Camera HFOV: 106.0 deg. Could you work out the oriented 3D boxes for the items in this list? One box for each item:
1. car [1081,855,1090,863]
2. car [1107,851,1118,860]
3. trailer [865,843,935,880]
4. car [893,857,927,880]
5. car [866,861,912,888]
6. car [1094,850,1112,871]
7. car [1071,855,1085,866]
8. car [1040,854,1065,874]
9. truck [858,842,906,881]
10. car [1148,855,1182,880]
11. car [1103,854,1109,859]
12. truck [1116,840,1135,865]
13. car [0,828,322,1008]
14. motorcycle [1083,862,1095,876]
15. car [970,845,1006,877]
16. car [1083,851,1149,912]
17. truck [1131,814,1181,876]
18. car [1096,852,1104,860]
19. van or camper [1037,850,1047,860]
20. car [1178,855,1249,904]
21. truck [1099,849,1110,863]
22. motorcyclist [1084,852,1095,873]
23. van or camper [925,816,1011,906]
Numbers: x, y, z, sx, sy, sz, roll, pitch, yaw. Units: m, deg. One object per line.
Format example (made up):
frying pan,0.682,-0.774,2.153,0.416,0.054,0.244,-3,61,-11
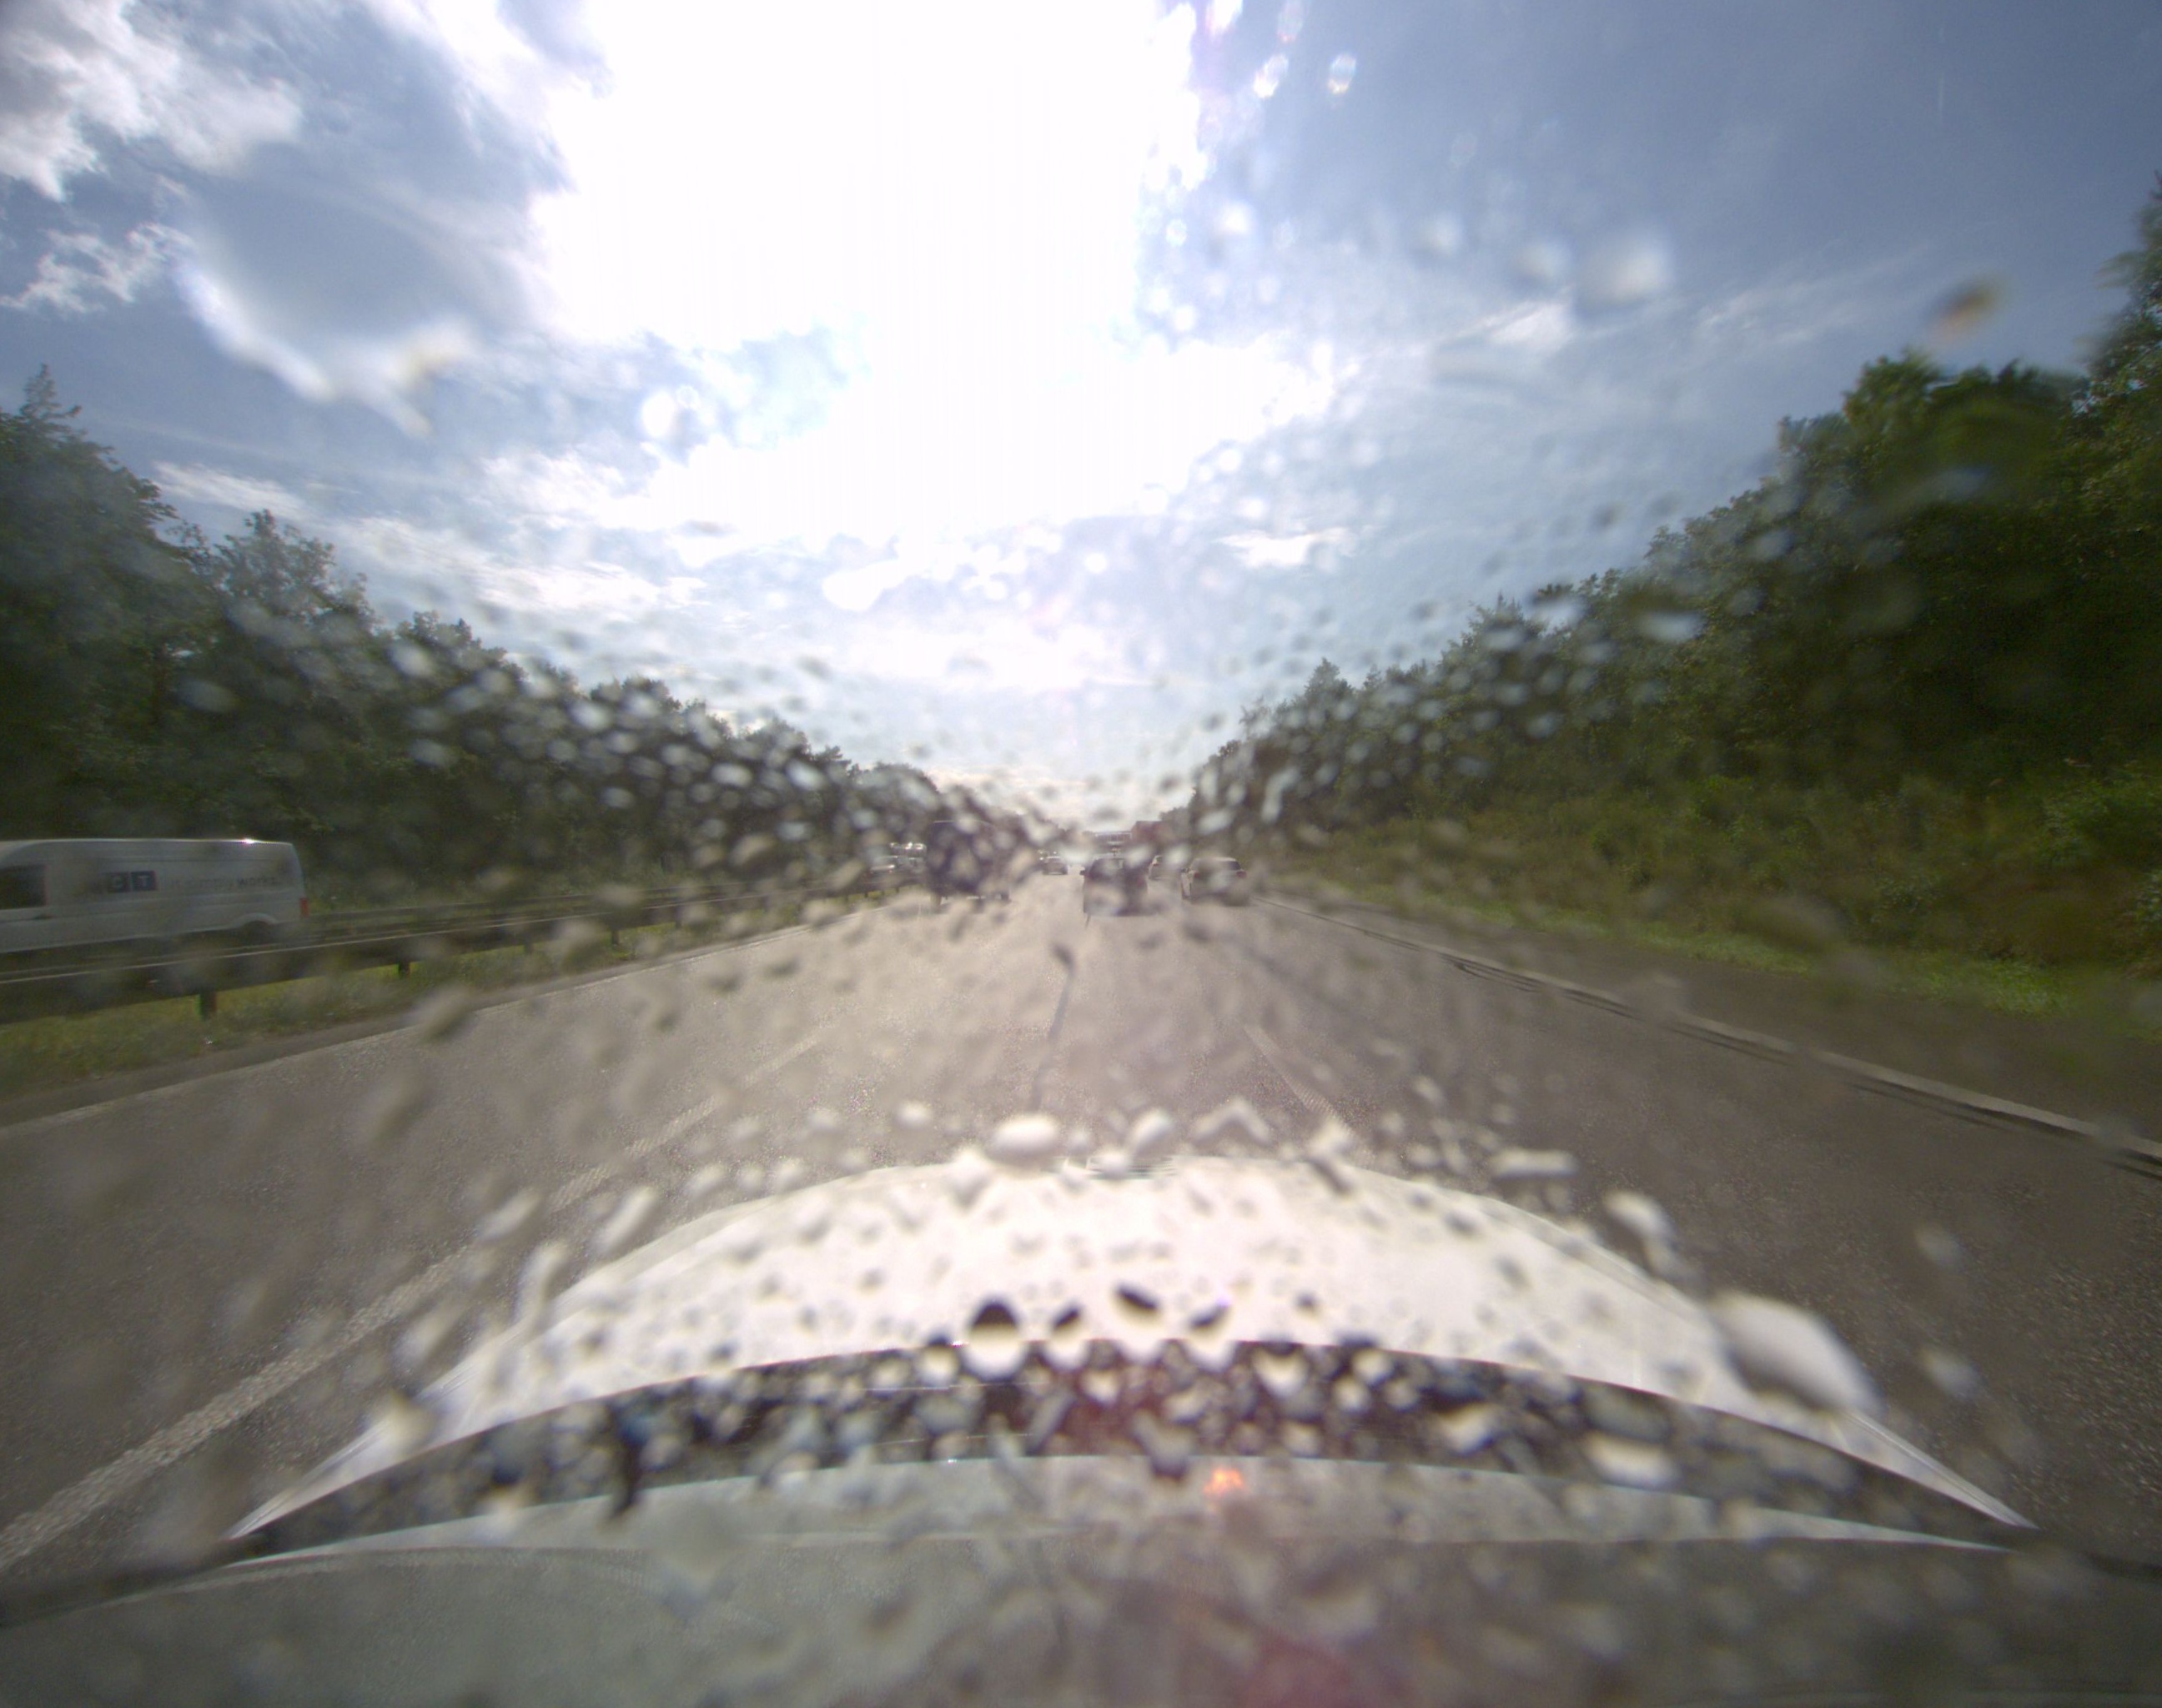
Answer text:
car,0.770,0.901,139.831,1.455,1.393,3.312,-1,0,1
car,4.643,0.215,119.567,1.547,1.383,3.210,-1,0,1
trailer,-20.144,0.828,92.405,2.978,3.831,17.965,0,0,3
car,-15.258,1.262,72.850,1.862,1.946,5.042,-1,0,1
car,-12.487,1.317,53.336,1.839,1.663,4.663,-1,0,1
car,1.939,0.579,72.778,1.526,1.746,3.485,-1,0,1
car,-0.419,0.914,111.492,1.745,1.457,3.390,-1,0,1
car,-2.321,0.826,66.924,1.848,1.551,3.485,-1,0,1
truck,-20.531,0.792,84.338,2.978,3.831,6.869,0,0,3
car,5.018,0.766,49.128,1.674,1.442,3.905,-1,0,1
car,7.833,0.795,254.326,1.986,1.728,4.002,-1,0,2
truck,8.139,-0.270,149.725,3.243,4.479,12.429,-1,0,3
car,-18.324,1.042,14.904,2.255,2.870,6.932,-1,0,1
motorcycle,0.645,1.167,63.050,0.887,1.000,2.896,-1,0,1
car,-7.551,0.562,66.456,2.175,2.452,5.749,-1,0,1
car,0.936,0.724,22.991,1.711,1.568,3.485,-1,0,1
truck,6.342,-0.660,71.441,3.635,4.720,16.790,-1,0,3
car,4.830,0.477,211.622,1.986,2.013,4.001,-2,0,1
van or camper,-11.643,0.365,243.291,2.491,2.921,7.139,-1,0,1
car,4.188,0.769,26.302,1.686,1.425,4.220,-1,0,1
truck,4.761,0.429,167.877,2.184,2.875,4.850,-1,0,1
motorcyclist,0.655,0.651,63.009,0.799,1.633,1.013,-1,-1,1
van or camper,-3.605,0.217,26.933,1.986,2.669,5.385,-1,0,1
